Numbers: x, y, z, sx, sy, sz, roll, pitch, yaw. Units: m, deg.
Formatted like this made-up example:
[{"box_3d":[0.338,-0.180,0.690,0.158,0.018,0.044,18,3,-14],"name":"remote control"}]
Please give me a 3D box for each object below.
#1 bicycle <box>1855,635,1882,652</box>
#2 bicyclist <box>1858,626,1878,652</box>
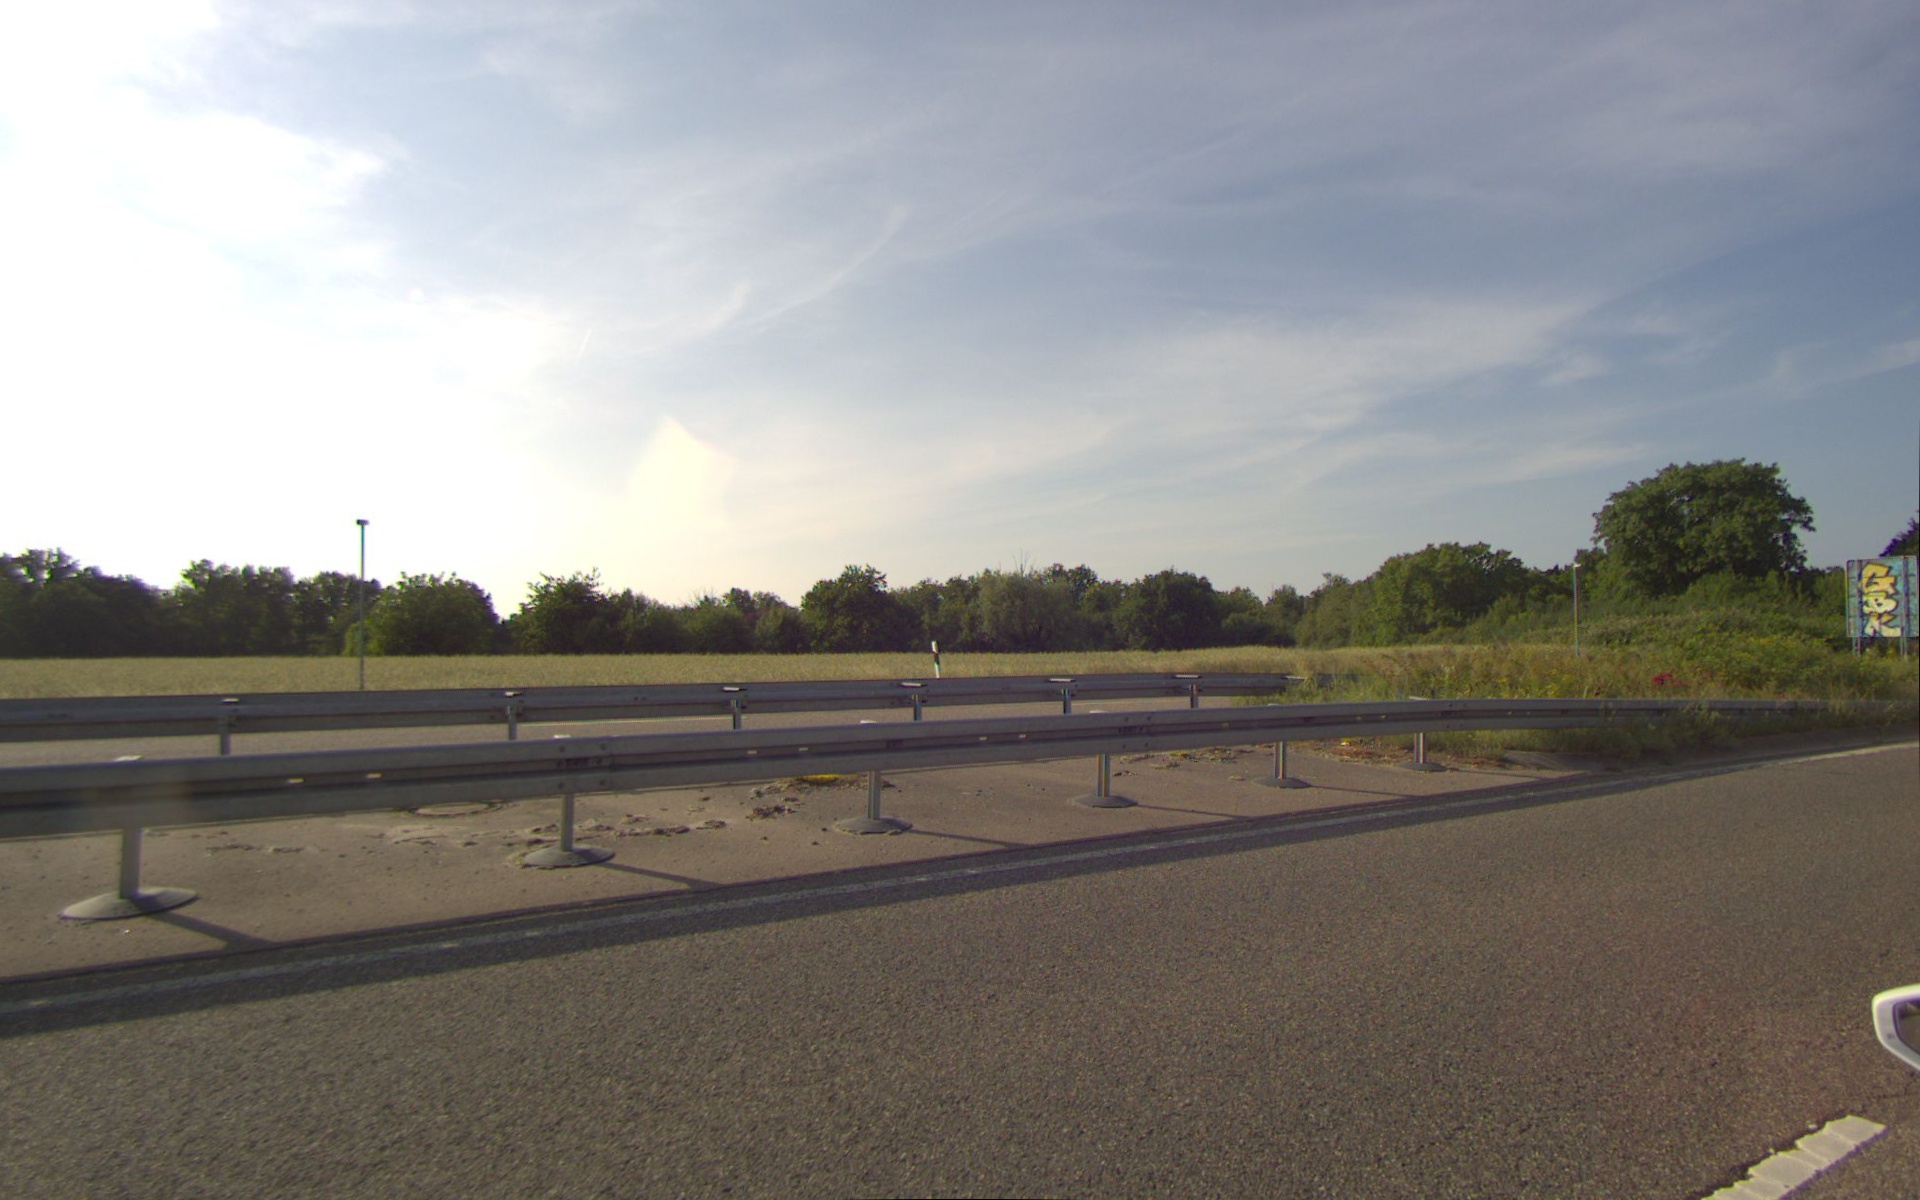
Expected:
[{"box_3d":[49.600,2.377,54.848,1.683,0.890,0.528,1,-2,-28],"name":"bicycle"},{"box_3d":[49.525,2.106,54.806,1.034,1.408,0.465,1,-2,-28],"name":"bicyclist"}]
